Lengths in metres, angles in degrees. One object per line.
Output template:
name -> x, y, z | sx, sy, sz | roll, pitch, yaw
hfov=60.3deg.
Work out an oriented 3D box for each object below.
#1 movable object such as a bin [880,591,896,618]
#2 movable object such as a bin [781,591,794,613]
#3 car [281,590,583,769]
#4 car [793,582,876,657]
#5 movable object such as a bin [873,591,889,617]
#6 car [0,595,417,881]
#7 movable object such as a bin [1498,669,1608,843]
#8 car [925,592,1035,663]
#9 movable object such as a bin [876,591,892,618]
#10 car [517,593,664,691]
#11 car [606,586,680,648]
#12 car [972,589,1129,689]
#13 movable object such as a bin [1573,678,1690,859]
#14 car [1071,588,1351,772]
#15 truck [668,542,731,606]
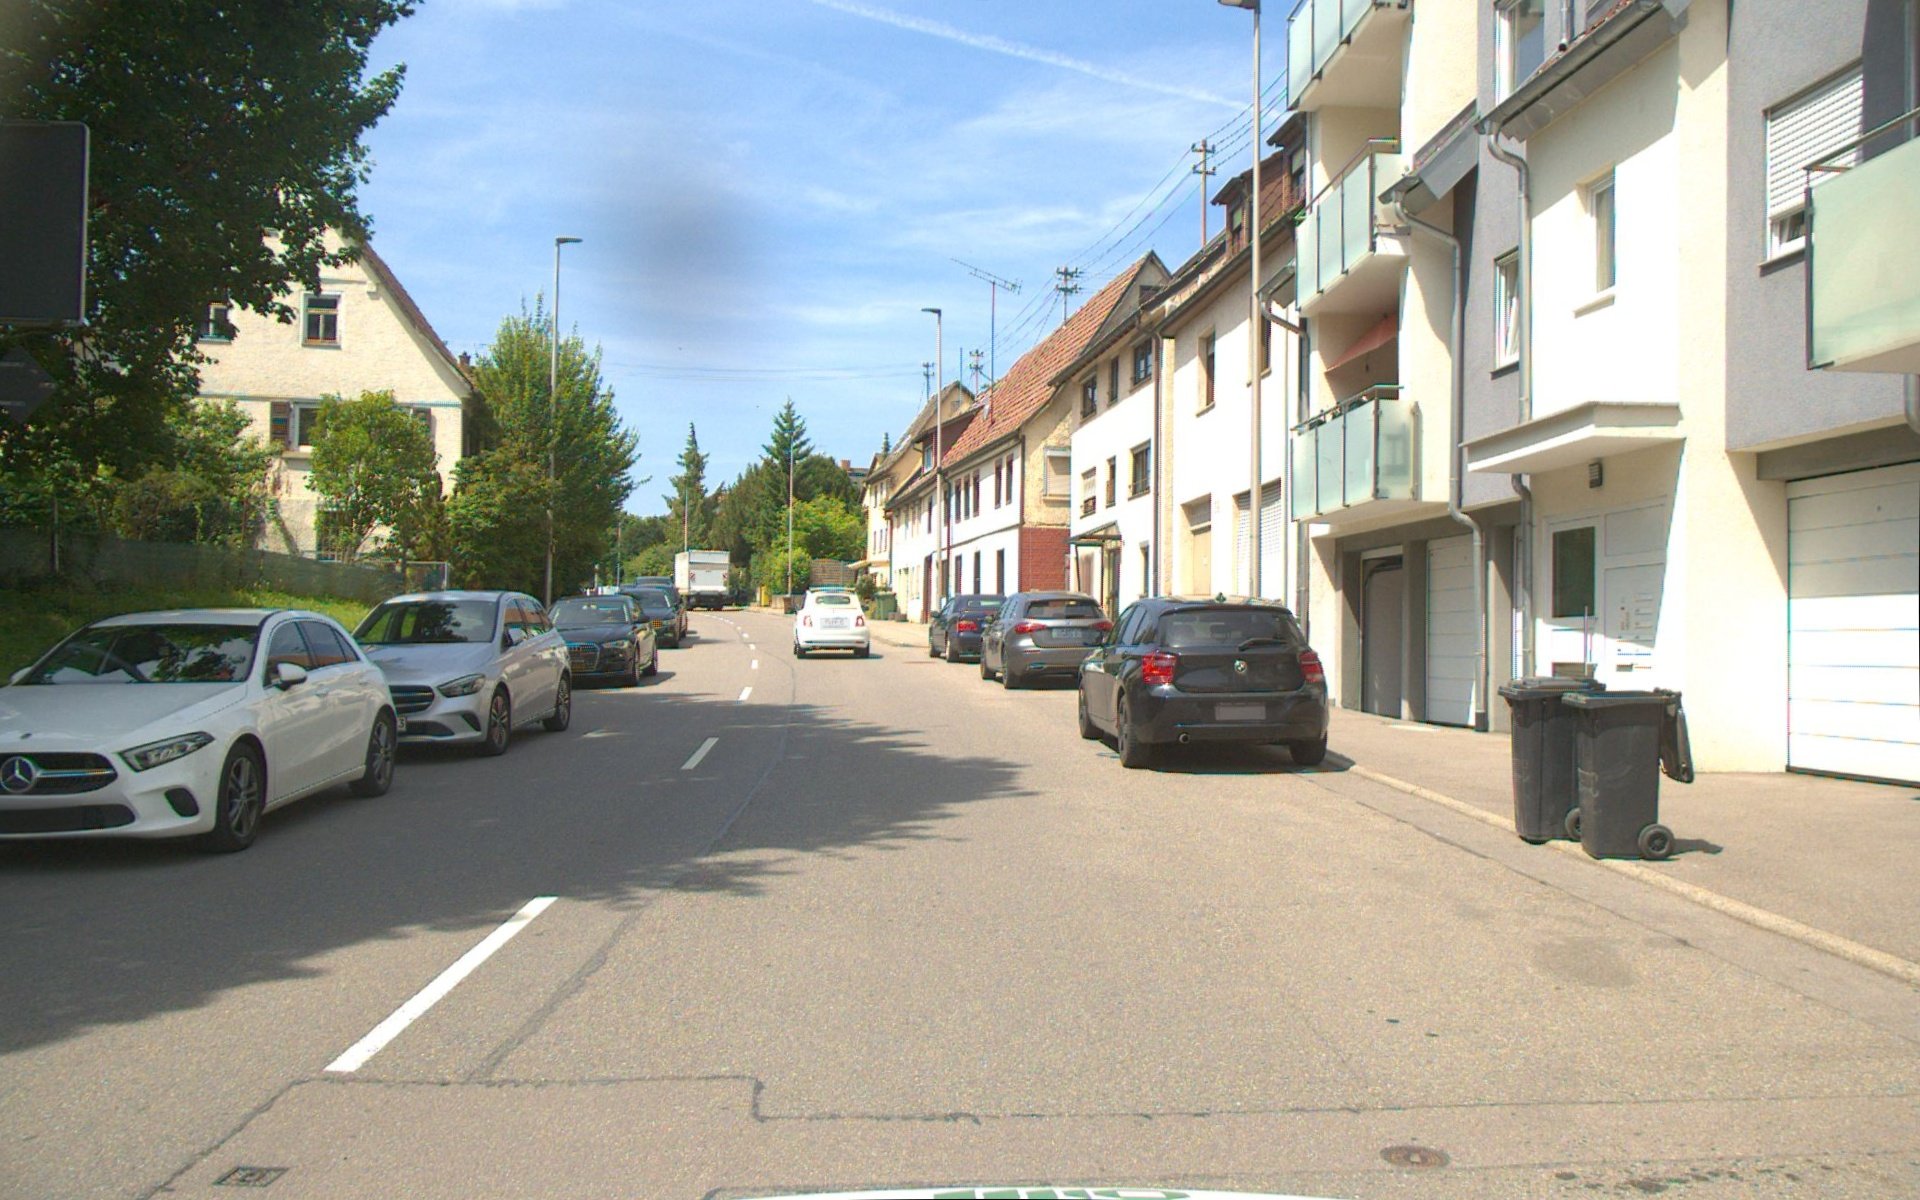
movable object such as a bin -> -2.904, 0.179, 66.503 | 0.537, 1.051, 0.550 | -2, 1, -11
movable object such as a bin -> -8.713, 0.114, 83.653 | 0.484, 1.051, 0.549 | -3, 1, 10
car -> -5.191, 0.694, 16.866 | 1.736, 1.554, 4.221 | -1, 0, -1
car -> -2.871, 0.426, 37.266 | 1.692, 1.587, 3.994 | 1, 0, -7
movable object such as a bin -> -3.267, 0.150, 68.292 | 0.537, 1.051, 0.550 | -2, 1, -11
car -> -5.141, 0.739, 11.018 | 1.719, 1.492, 4.361 | -1, 0, -2
movable object such as a bin -> 3.544, 0.920, 9.911 | 0.422, 0.973, 0.517 | -2, 0, -4
car -> 0.352, 0.533, 34.811 | 1.635, 1.376, 4.178 | 1, 0, -9
movable object such as a bin -> -3.079, 0.170, 67.131 | 0.537, 1.051, 0.550 | -2, 1, -11
car -> -6.230, 0.640, 28.390 | 1.769, 1.448, 4.923 | -2, 1, -5
car -> -8.111, 0.394, 42.617 | 1.756, 1.489, 4.702 | 0, 0, -9
car -> 1.339, 0.549, 26.258 | 1.759, 1.427, 4.406 | -1, 1, -6
movable object such as a bin -> 3.725, 0.923, 9.197 | 0.422, 0.941, 0.491 | -1, 0, -4
car -> 2.161, 0.641, 15.401 | 1.761, 1.449, 4.287 | -1, 0, -3
truck -> -16.592, -1.586, 104.969 | 3.019, 3.840, 7.833 | 0, 0, -16
